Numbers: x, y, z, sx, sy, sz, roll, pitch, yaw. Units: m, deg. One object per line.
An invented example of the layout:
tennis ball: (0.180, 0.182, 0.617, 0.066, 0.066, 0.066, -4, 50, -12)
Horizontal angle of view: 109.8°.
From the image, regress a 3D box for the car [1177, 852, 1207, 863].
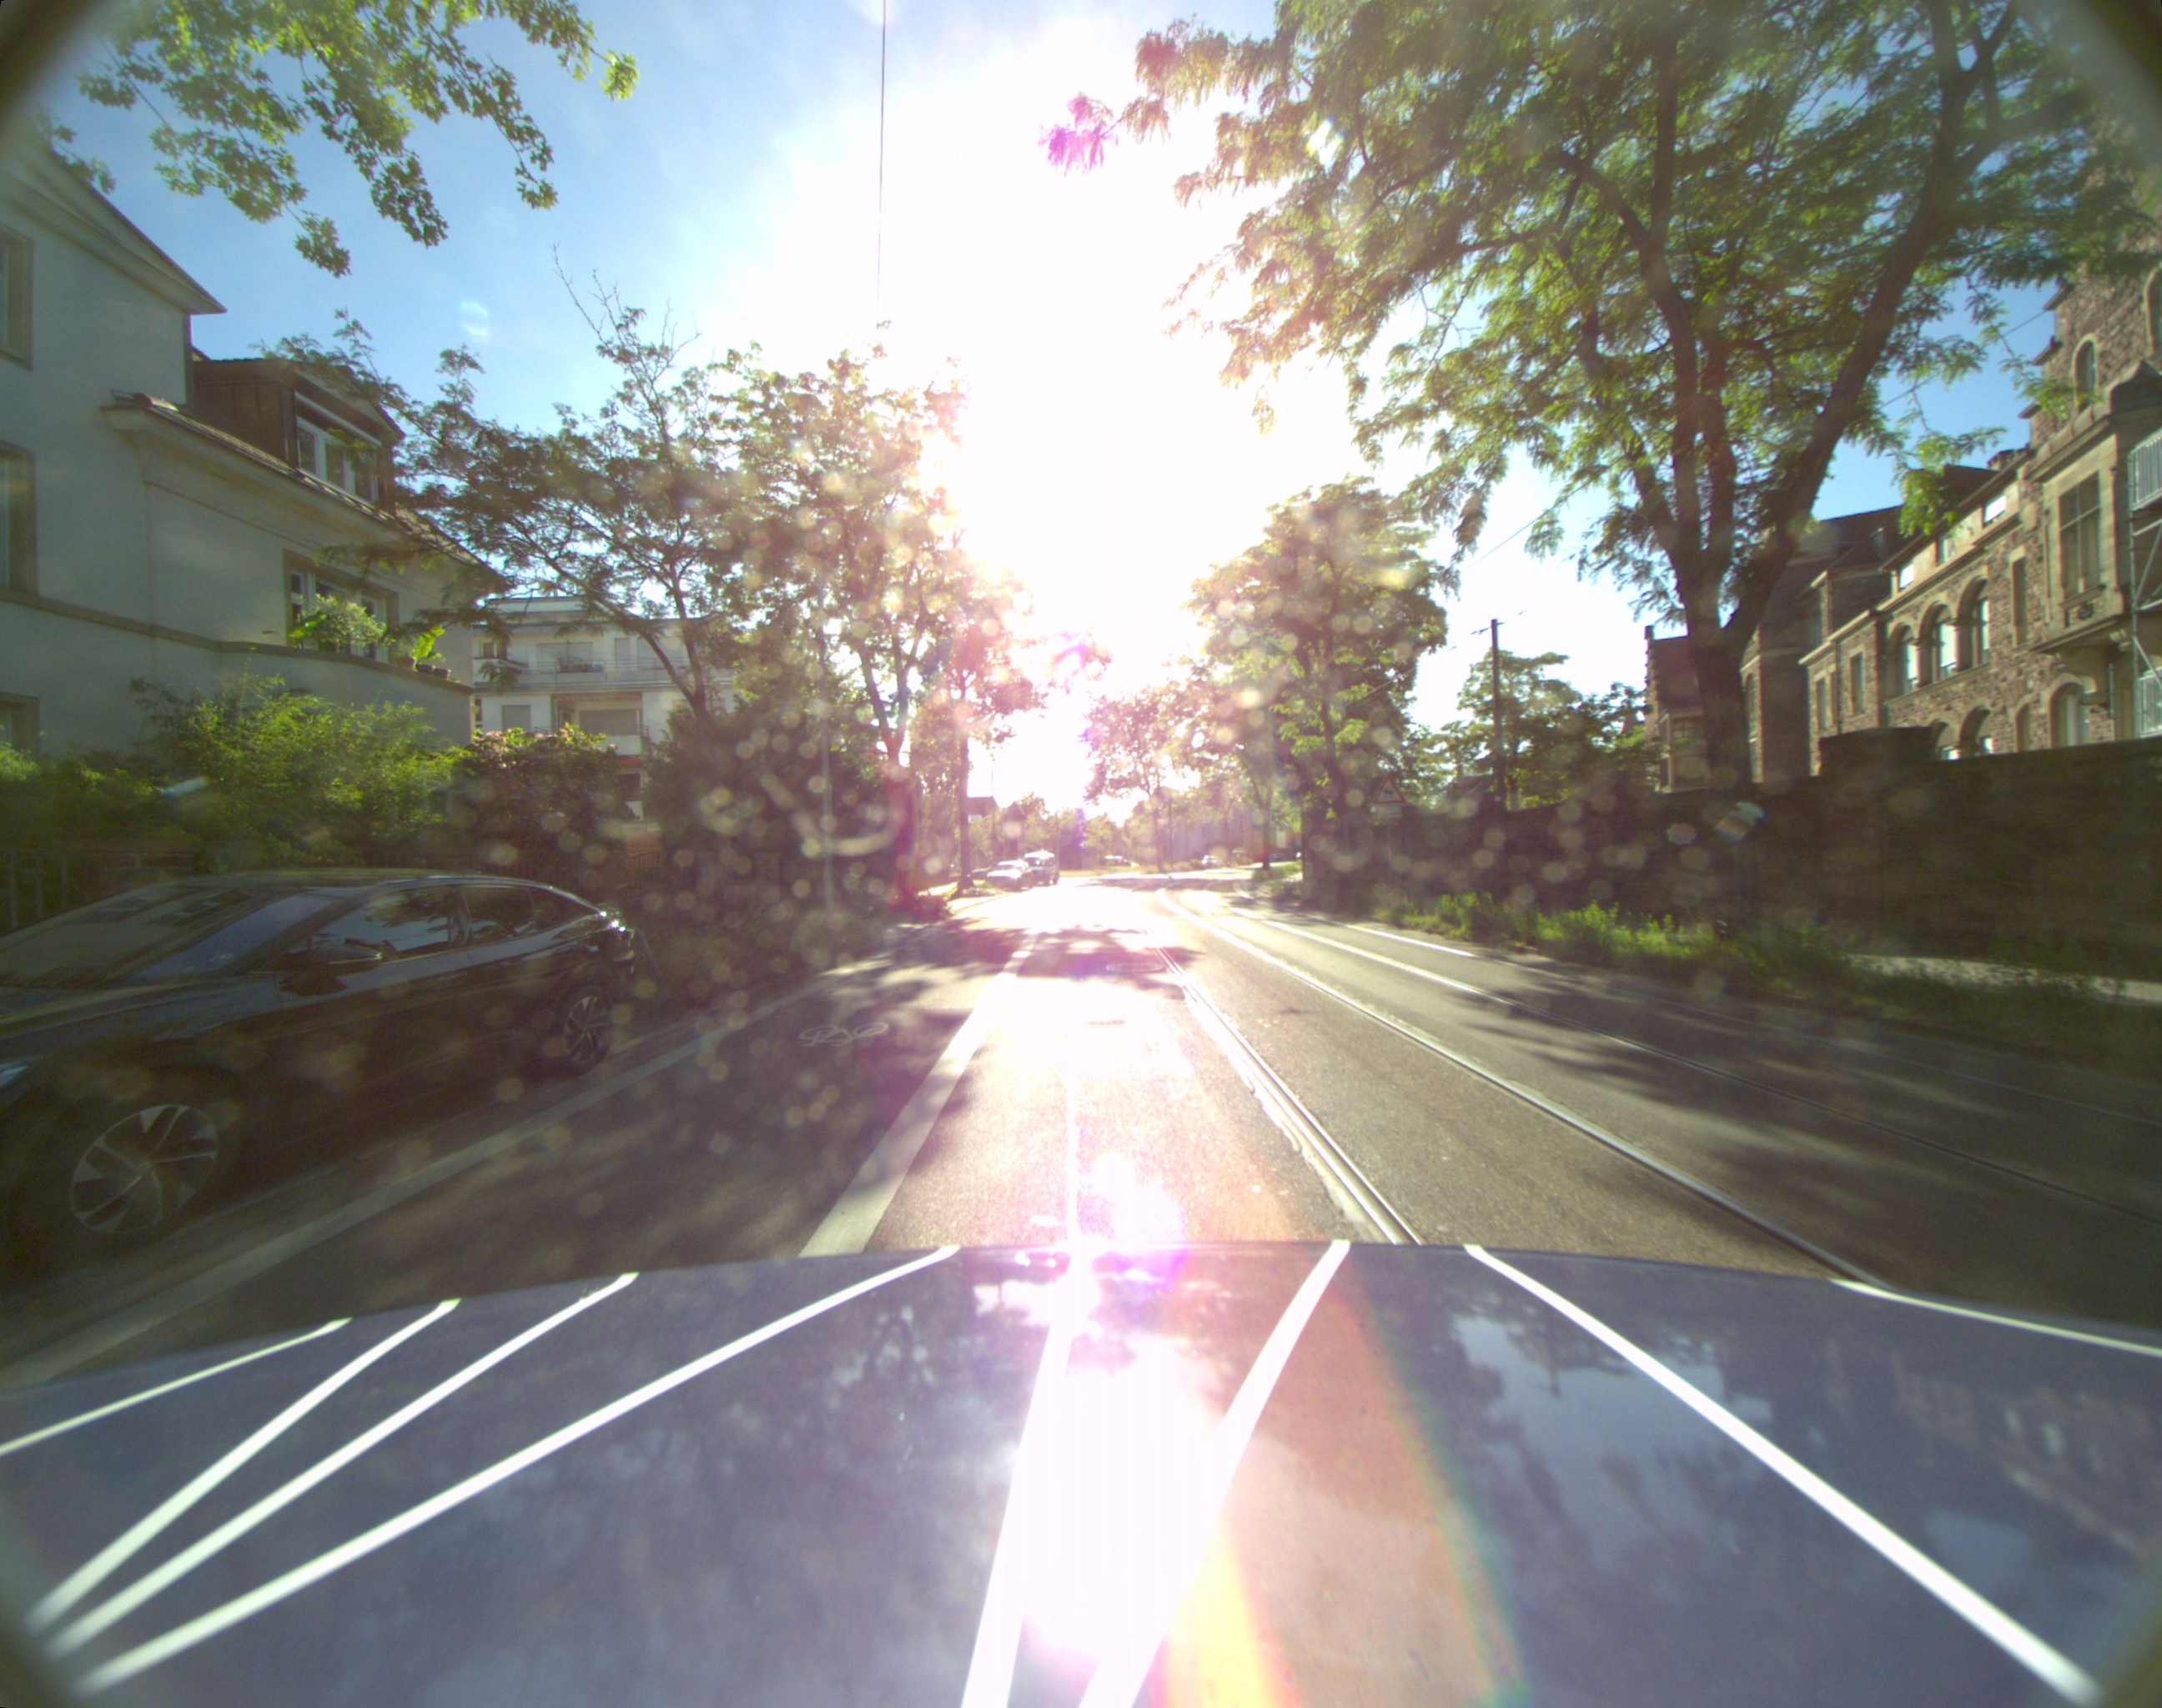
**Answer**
car: (17.687, 0.509, 121.175, 4.458, 1.482, 2.008, -1, 4, 3)

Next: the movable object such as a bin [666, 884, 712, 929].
movable object such as a bin: (-10.120, 1.340, 19.624, 0.748, 1.092, 0.730, -2, 1, 2)

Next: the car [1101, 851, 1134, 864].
car: (5.811, 0.612, 121.717, 5.208, 1.874, 2.100, -3, 0, 3)

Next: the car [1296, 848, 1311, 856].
car: (45.982, -0.402, 156.958, 1.877, 1.509, 4.657, -2, 0, 29)

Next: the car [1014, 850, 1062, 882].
car: (-2.446, 0.649, 44.507, 2.026, 1.736, 4.754, -1, 0, 6)

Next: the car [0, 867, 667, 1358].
car: (-4.824, 0.998, 4.668, 1.808, 1.684, 4.729, 2, 0, 2)

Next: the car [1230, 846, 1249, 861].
car: (22.642, -0.054, 108.568, 1.996, 2.083, 4.723, -1, 0, 20)

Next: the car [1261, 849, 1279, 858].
car: (34.088, -0.031, 136.983, 1.739, 1.487, 4.538, -2, 0, 31)

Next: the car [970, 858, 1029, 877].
car: (-6.677, 1.120, 62.795, 4.520, 1.361, 1.969, -2, 0, 3)

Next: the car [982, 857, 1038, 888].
car: (-3.540, 0.897, 38.600, 1.998, 1.415, 4.333, -1, 1, 5)

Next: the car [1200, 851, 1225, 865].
car: (15.842, 0.472, 91.530, 2.002, 1.457, 5.440, 2, 2, 20)
